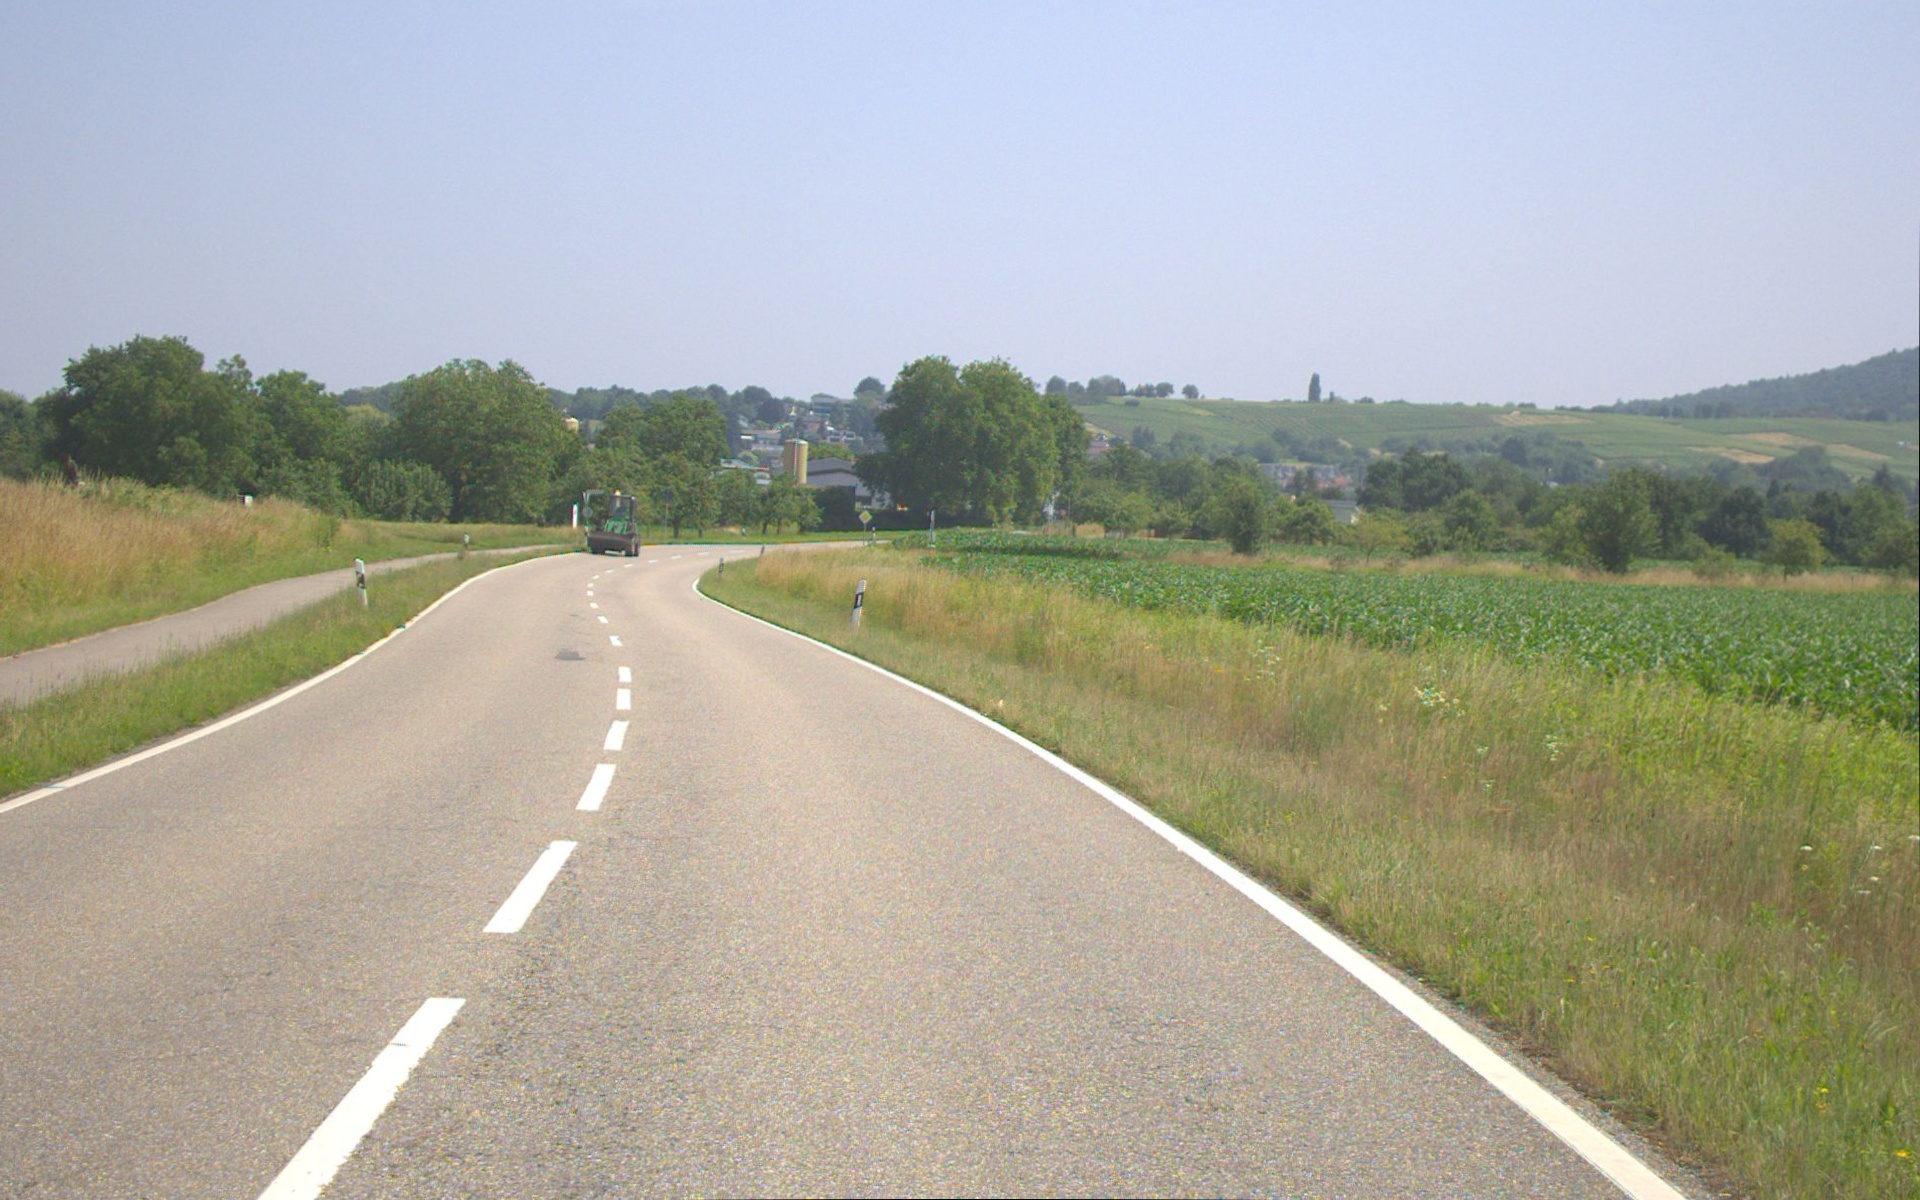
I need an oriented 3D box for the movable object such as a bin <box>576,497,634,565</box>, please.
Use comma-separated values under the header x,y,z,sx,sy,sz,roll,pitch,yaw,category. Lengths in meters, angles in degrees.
x,y,z,sx,sy,sz,roll,pitch,yaw,category
-15.469,-3.012,150.139,2.001,2.745,5.231,5,1,-3,movable object such as a bin
